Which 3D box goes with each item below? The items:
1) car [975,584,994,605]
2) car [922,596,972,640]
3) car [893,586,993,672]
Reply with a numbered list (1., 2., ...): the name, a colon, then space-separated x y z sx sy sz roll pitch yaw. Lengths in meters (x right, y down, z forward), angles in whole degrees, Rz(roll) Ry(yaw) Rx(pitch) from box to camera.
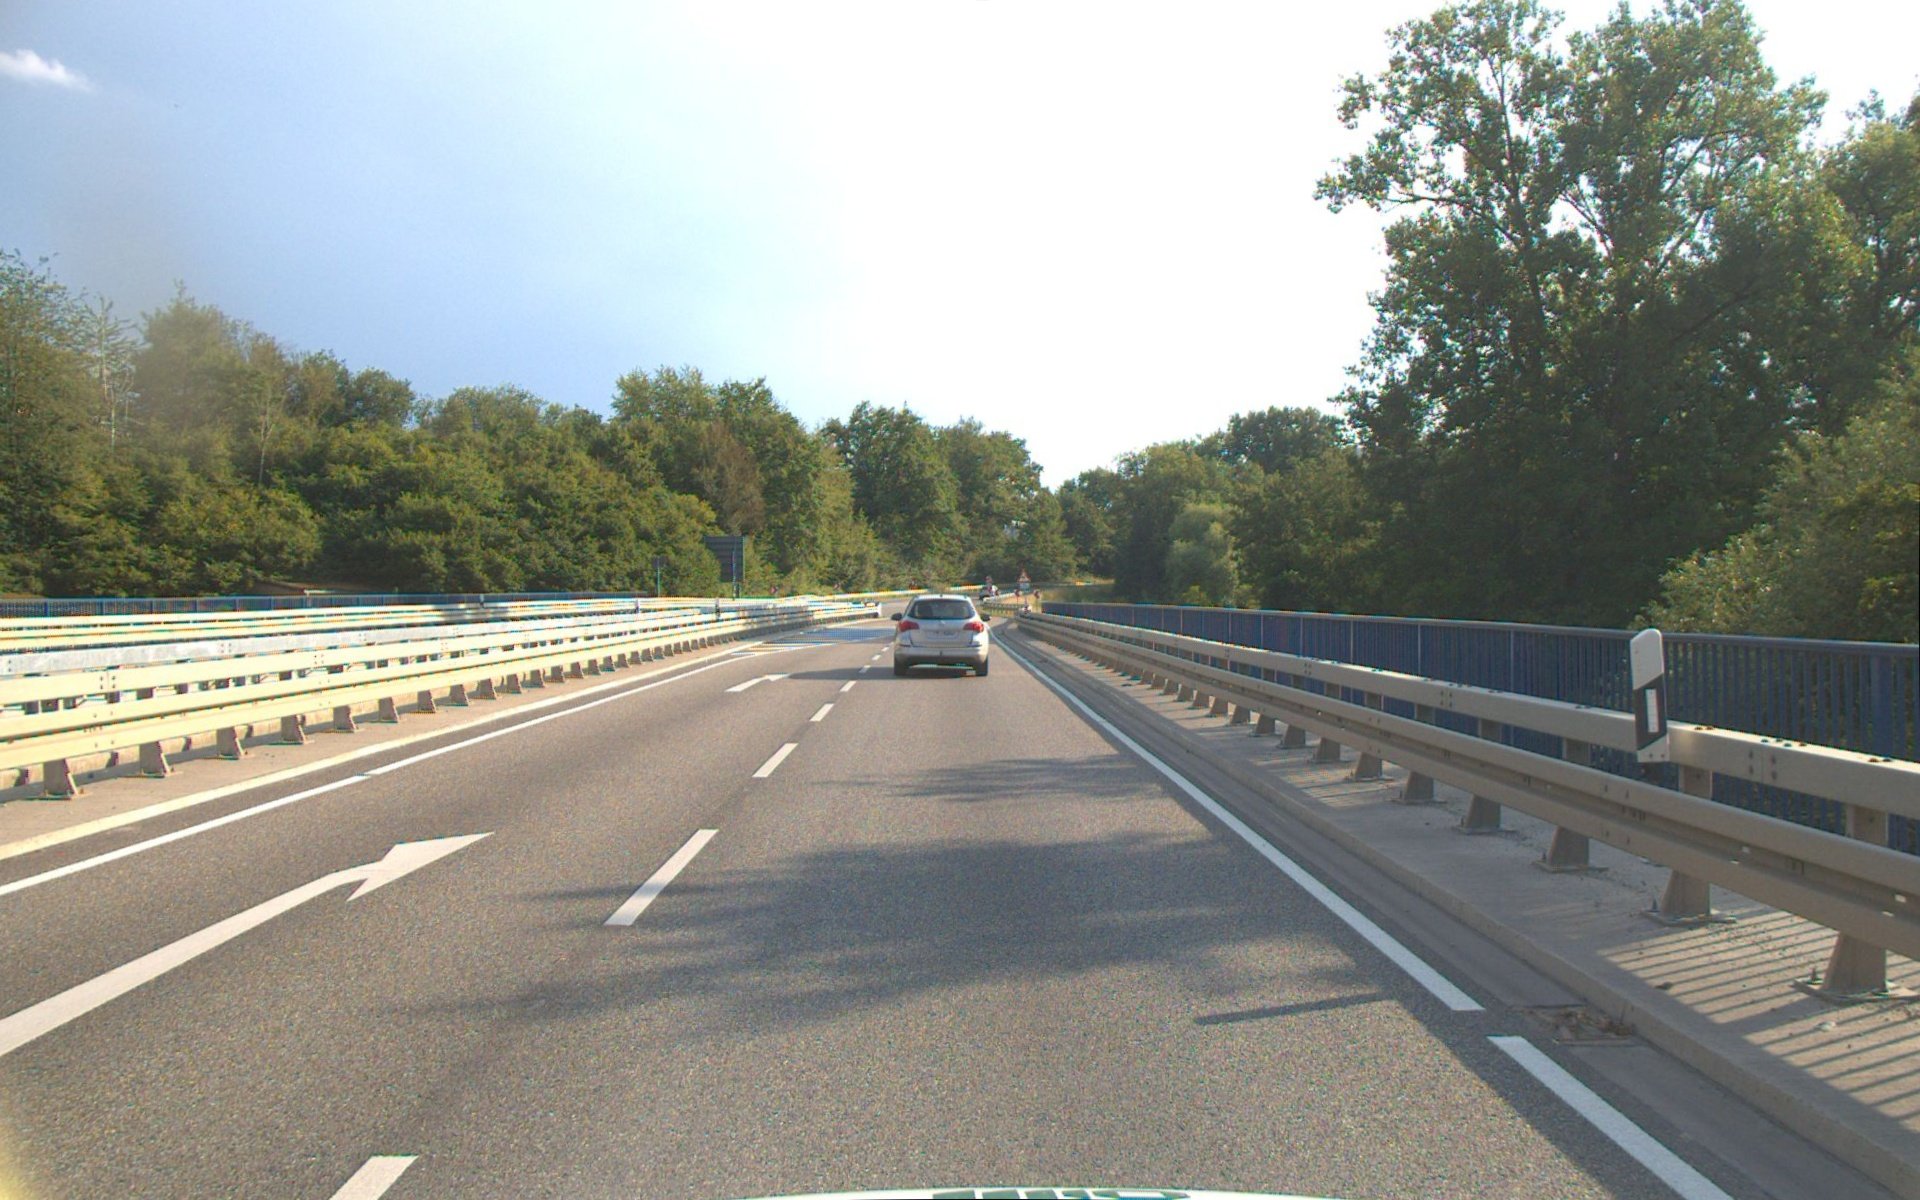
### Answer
1. car: 2.542 -0.564 173.912 1.952 2.049 4.000 1 -1 1
2. car: -0.516 0.669 60.919 1.772 1.512 3.998 1 -1 -1
3. car: -0.351 0.550 31.682 1.772 1.512 3.998 1 -1 -1
